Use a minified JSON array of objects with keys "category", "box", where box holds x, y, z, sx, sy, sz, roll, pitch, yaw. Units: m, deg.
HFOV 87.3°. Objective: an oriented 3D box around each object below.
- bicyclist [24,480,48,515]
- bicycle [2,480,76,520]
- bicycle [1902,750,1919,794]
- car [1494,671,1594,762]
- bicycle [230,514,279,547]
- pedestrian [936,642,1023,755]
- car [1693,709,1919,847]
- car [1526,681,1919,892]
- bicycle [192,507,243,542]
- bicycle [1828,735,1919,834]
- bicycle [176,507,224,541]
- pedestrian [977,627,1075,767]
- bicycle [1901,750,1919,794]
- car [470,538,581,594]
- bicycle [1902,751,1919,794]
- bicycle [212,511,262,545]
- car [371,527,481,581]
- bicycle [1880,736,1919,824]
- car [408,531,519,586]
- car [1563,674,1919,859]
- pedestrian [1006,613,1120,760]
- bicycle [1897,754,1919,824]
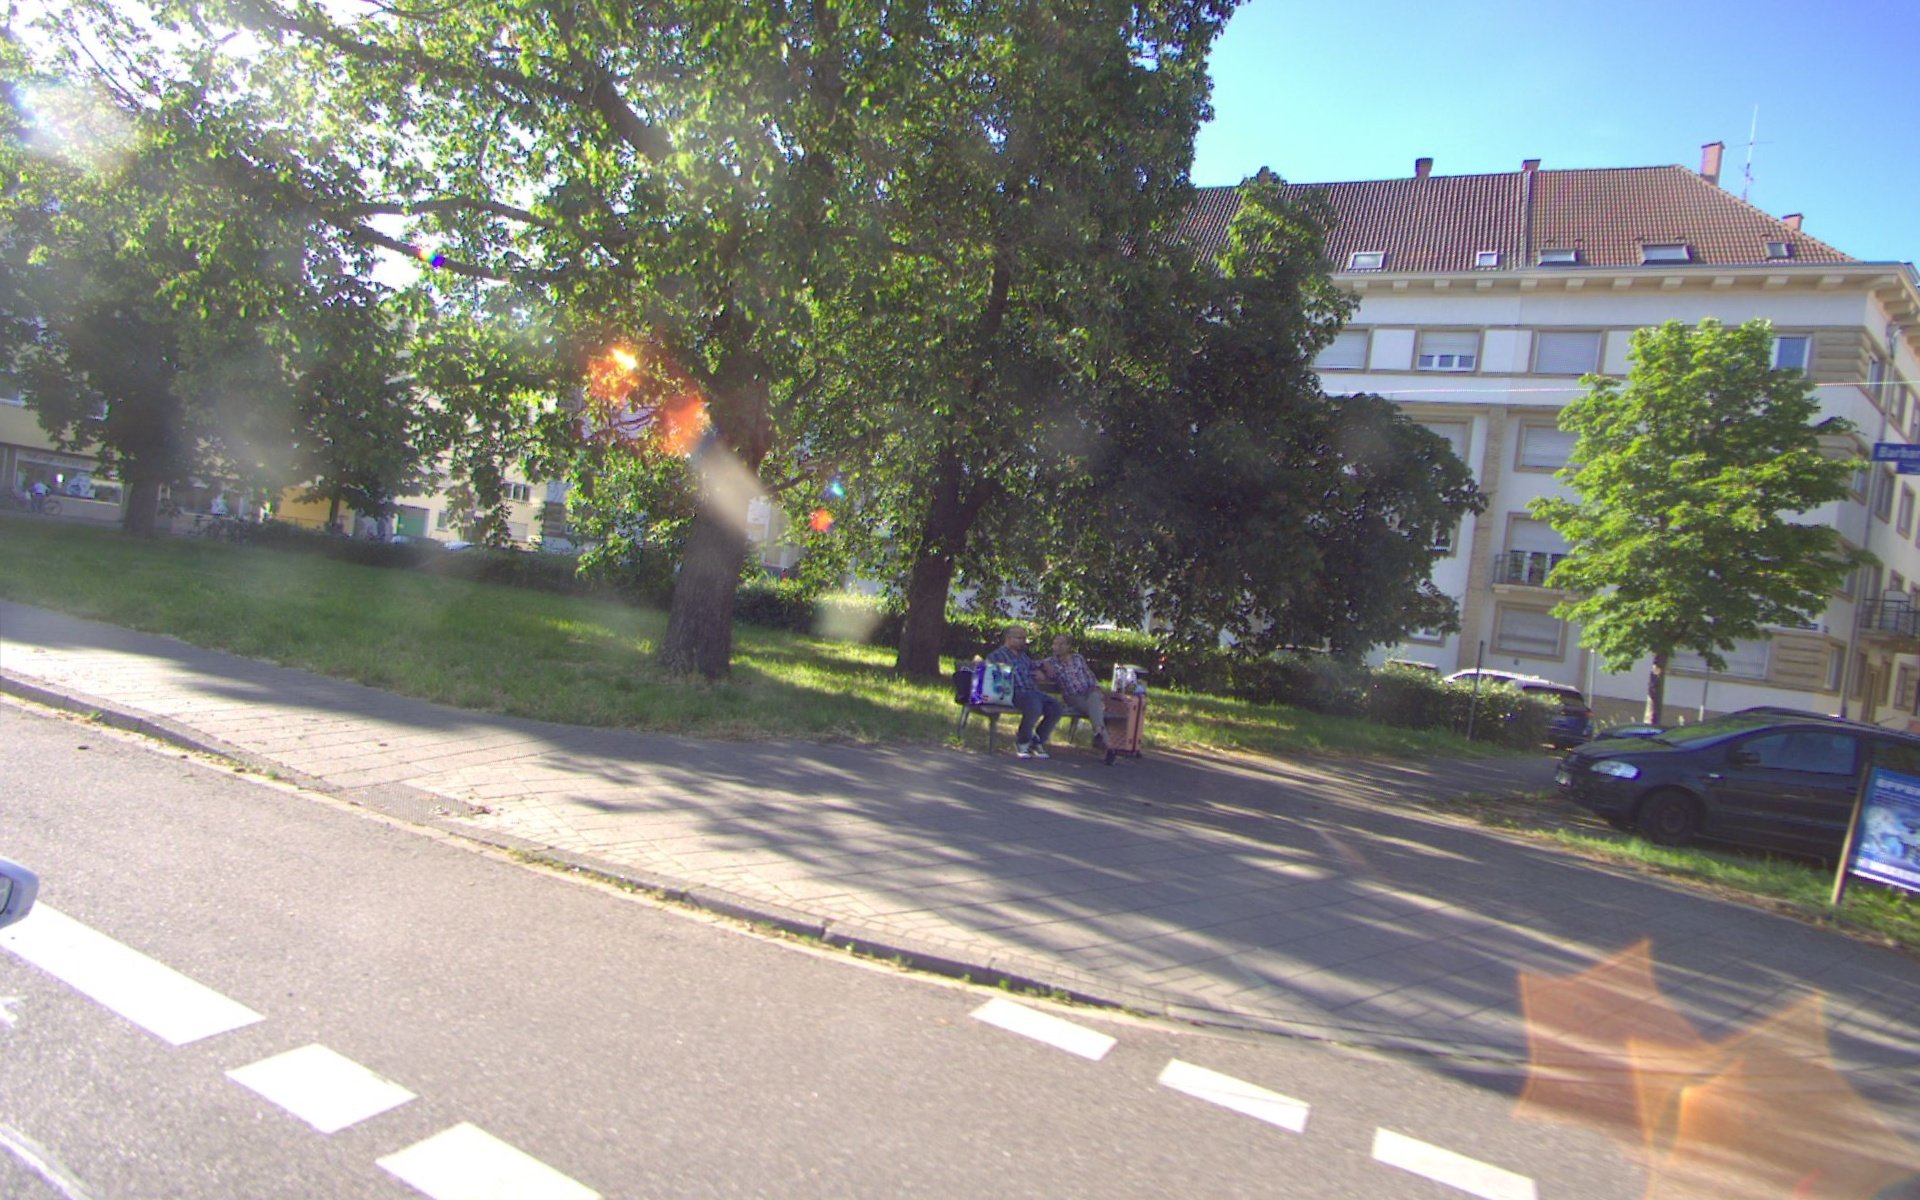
[{"category":"bicyclist","box":[-44.713,-4.959,48.682,0.456,1.585,0.529,8,-1,24]},{"category":"bicycle","box":[-45.058,-4.880,49.246,0.597,1.415,2.479,8,-2,25]},{"category":"bicycle","box":[28.111,5.026,28.453,2.034,1.202,0.594,7,-2,43]},{"category":"car","box":[12.577,2.453,21.831,1.548,1.389,3.349,8,4,27]},{"category":"bicycle","box":[-27.559,-2.714,39.293,1.971,1.046,0.599,8,-1,26]},{"category":"pedestrian","box":[0.180,0.931,9.590,0.401,0.945,0.616,9,1,-37]},{"category":"car","box":[13.593,2.723,14.737,4.163,1.459,1.640,8,2,21]},{"category":"car","box":[8.522,1.953,10.868,3.736,1.513,1.641,8,1,15]},{"category":"bicycle","box":[-28.126,-2.875,38.114,1.971,1.046,0.599,8,-1,26]},{"category":"bicycle","box":[16.498,3.250,17.168,0.748,1.475,2.317,9,-2,-33]},{"category":"bicycle","box":[-28.368,-2.839,37.535,1.764,1.046,0.599,8,-1,26]},{"category":"pedestrian","box":[0.642,0.941,9.868,0.401,1.240,0.753,9,-1,-37]},{"category":"bicycle","box":[28.705,5.149,29.102,2.034,1.202,0.594,7,-2,43]},{"category":"car","box":[-15.309,-1.163,35.590,1.547,1.548,3.256,8,0,24]},{"category":"bicycle","box":[29.225,5.243,29.632,2.034,1.202,0.594,7,-2,43]},{"category":"bicycle","box":[-27.817,-2.774,38.720,1.955,1.046,0.599,8,-1,26]},{"category":"car","box":[-20.030,-1.696,37.831,1.547,1.548,3.256,8,0,24]},{"category":"bicycle","box":[17.500,3.275,17.353,0.552,1.475,2.329,9,-2,-17]},{"category":"car","box":[-18.015,-1.483,36.637,1.547,1.548,3.256,8,0,24]},{"category":"car","box":[10.229,2.064,13.215,3.744,1.592,1.453,8,2,30]},{"category":"pedestrian","box":[1.067,0.892,10.477,0.682,1.389,0.747,9,-1,-37]},{"category":"bicycle","box":[18.039,3.514,17.608,0.552,1.241,2.330,9,-2,-16]}]
